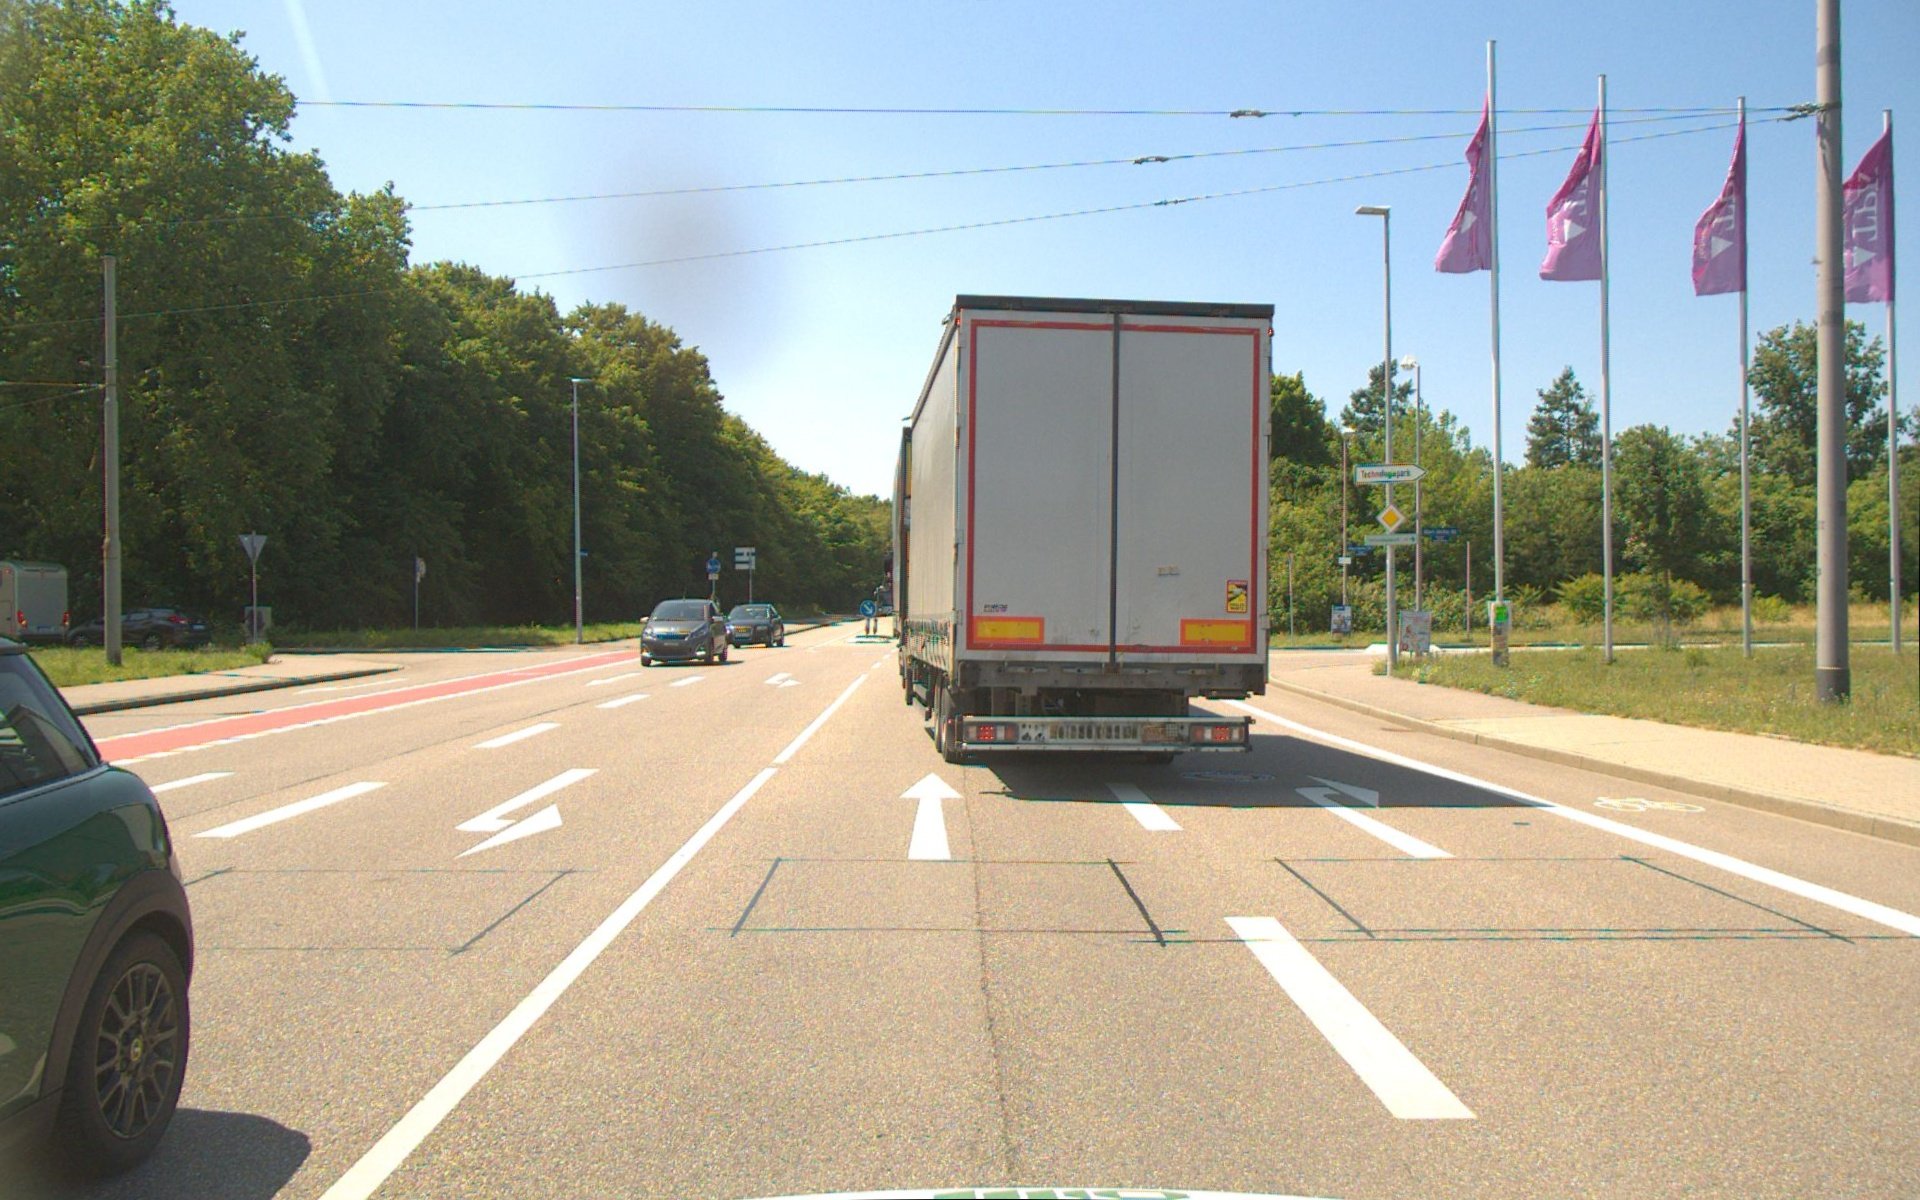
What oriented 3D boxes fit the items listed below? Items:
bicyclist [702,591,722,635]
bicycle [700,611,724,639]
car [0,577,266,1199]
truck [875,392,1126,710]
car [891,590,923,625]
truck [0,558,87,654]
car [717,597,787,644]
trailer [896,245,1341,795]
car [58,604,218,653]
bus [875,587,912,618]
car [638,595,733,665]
[{"bbox_3d":[-9.800,0.510,65.374,0.651,1.735,0.769,1,0,-1],"label":"bicyclist"},{"bbox_3d":[-9.808,0.973,65.375,0.655,1.073,2.045,1,0,-1],"label":"bicycle"},{"bbox_3d":[-2.865,0.695,2.844,1.688,1.488,3.989,0,0,-1],"label":"car"},{"bbox_3d":[0.341,-0.643,25.663,3.017,4.141,7.951,1,0,-5],"label":"truck"},{"bbox_3d":[-2.992,0.434,93.695,1.621,1.940,4.000,-1,0,1],"label":"car"},{"bbox_3d":[-32.035,0.253,52.890,7.161,2.961,2.570,-1,-1,9],"label":"truck"},{"bbox_3d":[-6.911,0.659,55.331,1.708,1.430,4.441,-1,1,1],"label":"car"},{"bbox_3d":[1.038,-0.605,17.462,3.017,4.141,9.799,1,0,-4],"label":"trailer"},{"bbox_3d":[-25.458,0.893,51.281,4.207,1.442,1.668,-1,-1,8],"label":"car"},{"bbox_3d":[-6.902,0.211,173.799,2.692,3.098,11.944,-1,1,3],"label":"bus"},{"bbox_3d":[-6.270,0.668,38.022,1.589,1.481,3.501,-2,0,-1],"label":"car"}]
